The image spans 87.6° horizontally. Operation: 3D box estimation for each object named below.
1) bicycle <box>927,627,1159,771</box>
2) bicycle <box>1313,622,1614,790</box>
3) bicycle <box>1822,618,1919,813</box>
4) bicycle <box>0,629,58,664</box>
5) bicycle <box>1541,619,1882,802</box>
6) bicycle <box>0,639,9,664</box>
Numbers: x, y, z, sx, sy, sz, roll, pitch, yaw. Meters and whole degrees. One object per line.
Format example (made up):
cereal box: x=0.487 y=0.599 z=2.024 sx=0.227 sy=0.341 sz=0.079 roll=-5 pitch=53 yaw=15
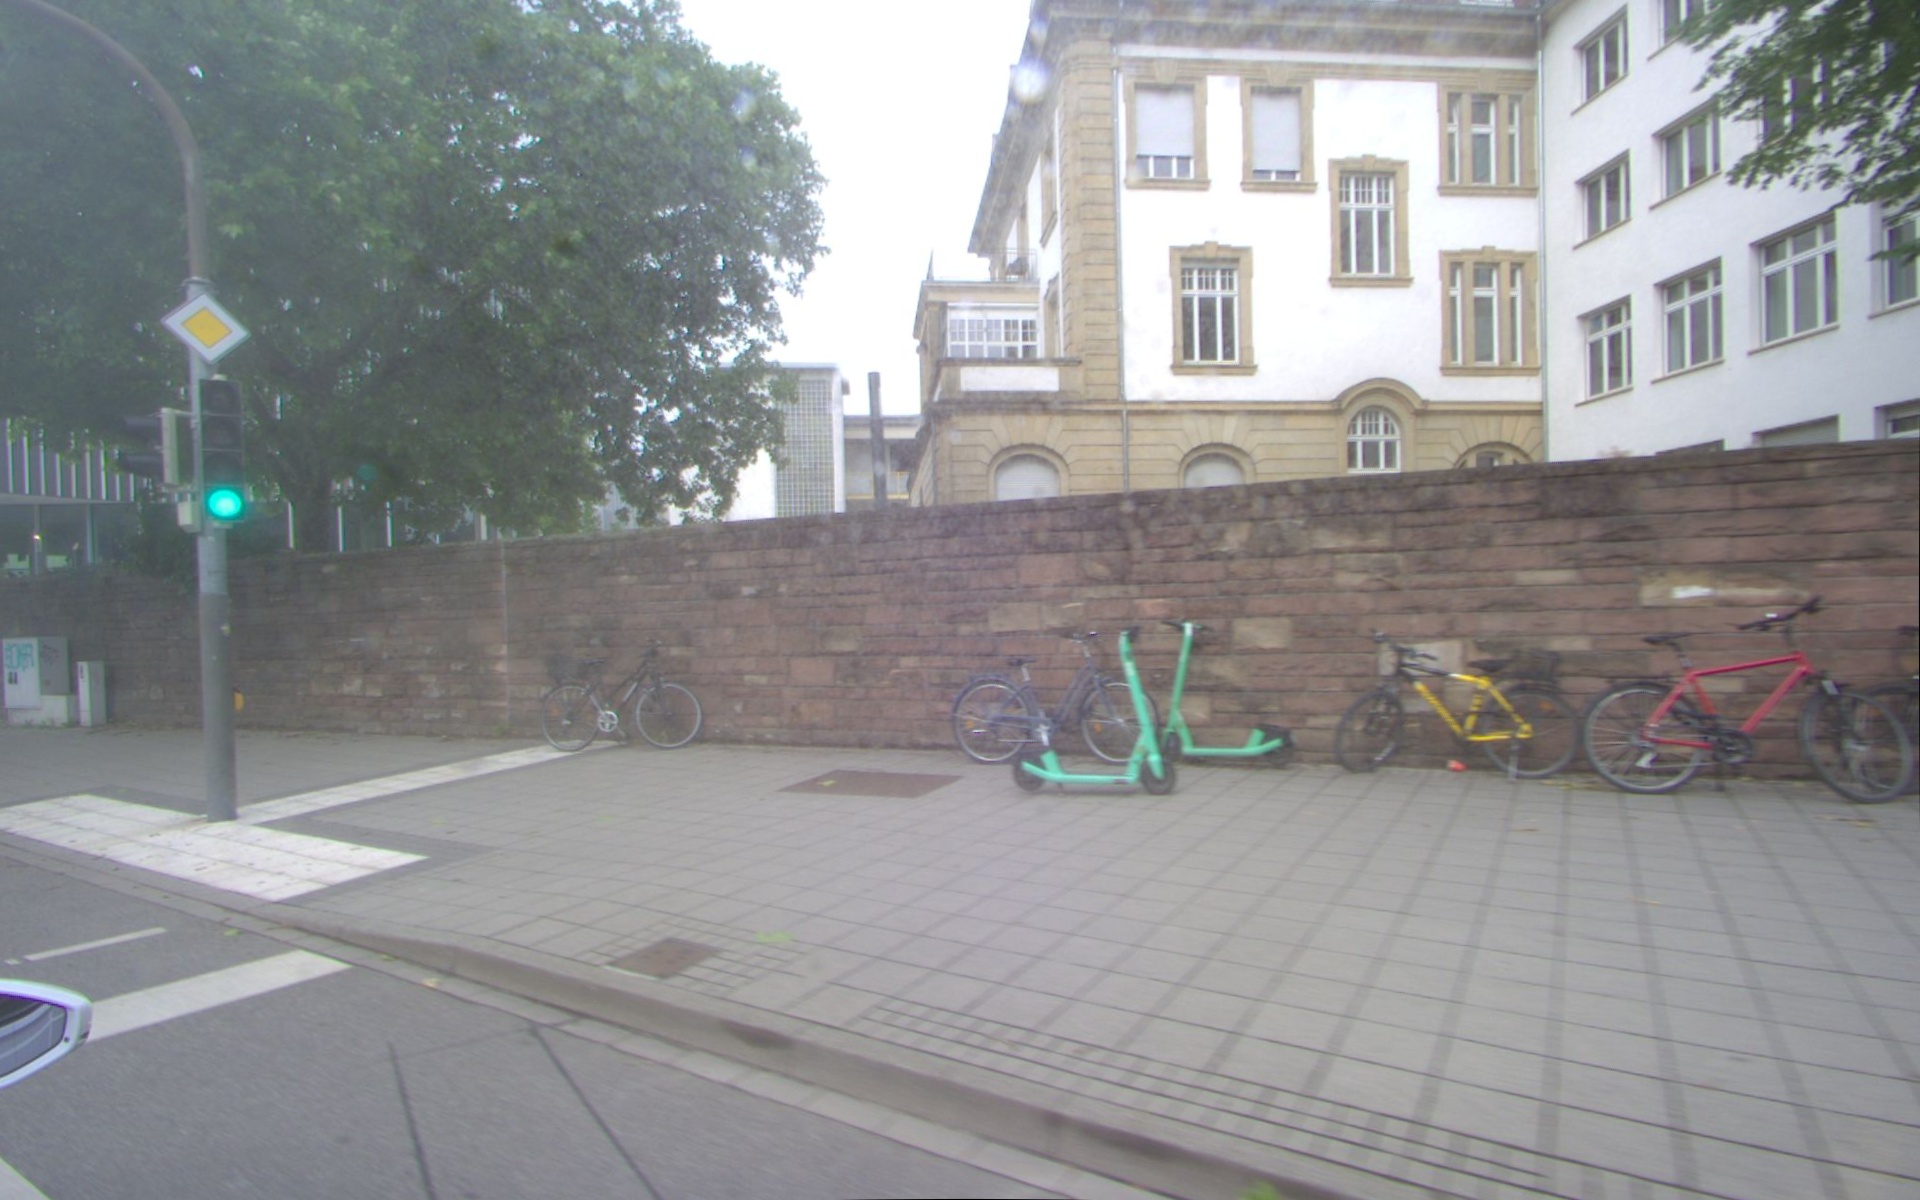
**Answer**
bicycle: x=0.694 y=0.815 z=8.417 sx=1.905 sy=1.158 sz=0.386 roll=-1 pitch=-1 yaw=12
bicycle: x=3.608 y=0.752 z=7.297 sx=1.905 sy=1.158 sz=0.386 roll=-1 pitch=-1 yaw=12
bicycle: x=6.378 y=0.682 z=5.950 sx=1.907 sy=1.158 sz=0.339 roll=-1 pitch=-1 yaw=17
bicycle: x=-39.042 y=1.913 z=41.869 sx=0.633 sy=1.324 sz=2.007 roll=0 pitch=1 yaw=7
bicycle: x=4.910 y=0.717 z=6.597 sx=1.904 sy=1.158 sz=0.386 roll=0 pitch=-1 yaw=1
bicycle: x=-40.671 y=2.170 z=41.324 sx=0.766 sy=1.019 sz=2.192 roll=-1 pitch=0 yaw=-1
